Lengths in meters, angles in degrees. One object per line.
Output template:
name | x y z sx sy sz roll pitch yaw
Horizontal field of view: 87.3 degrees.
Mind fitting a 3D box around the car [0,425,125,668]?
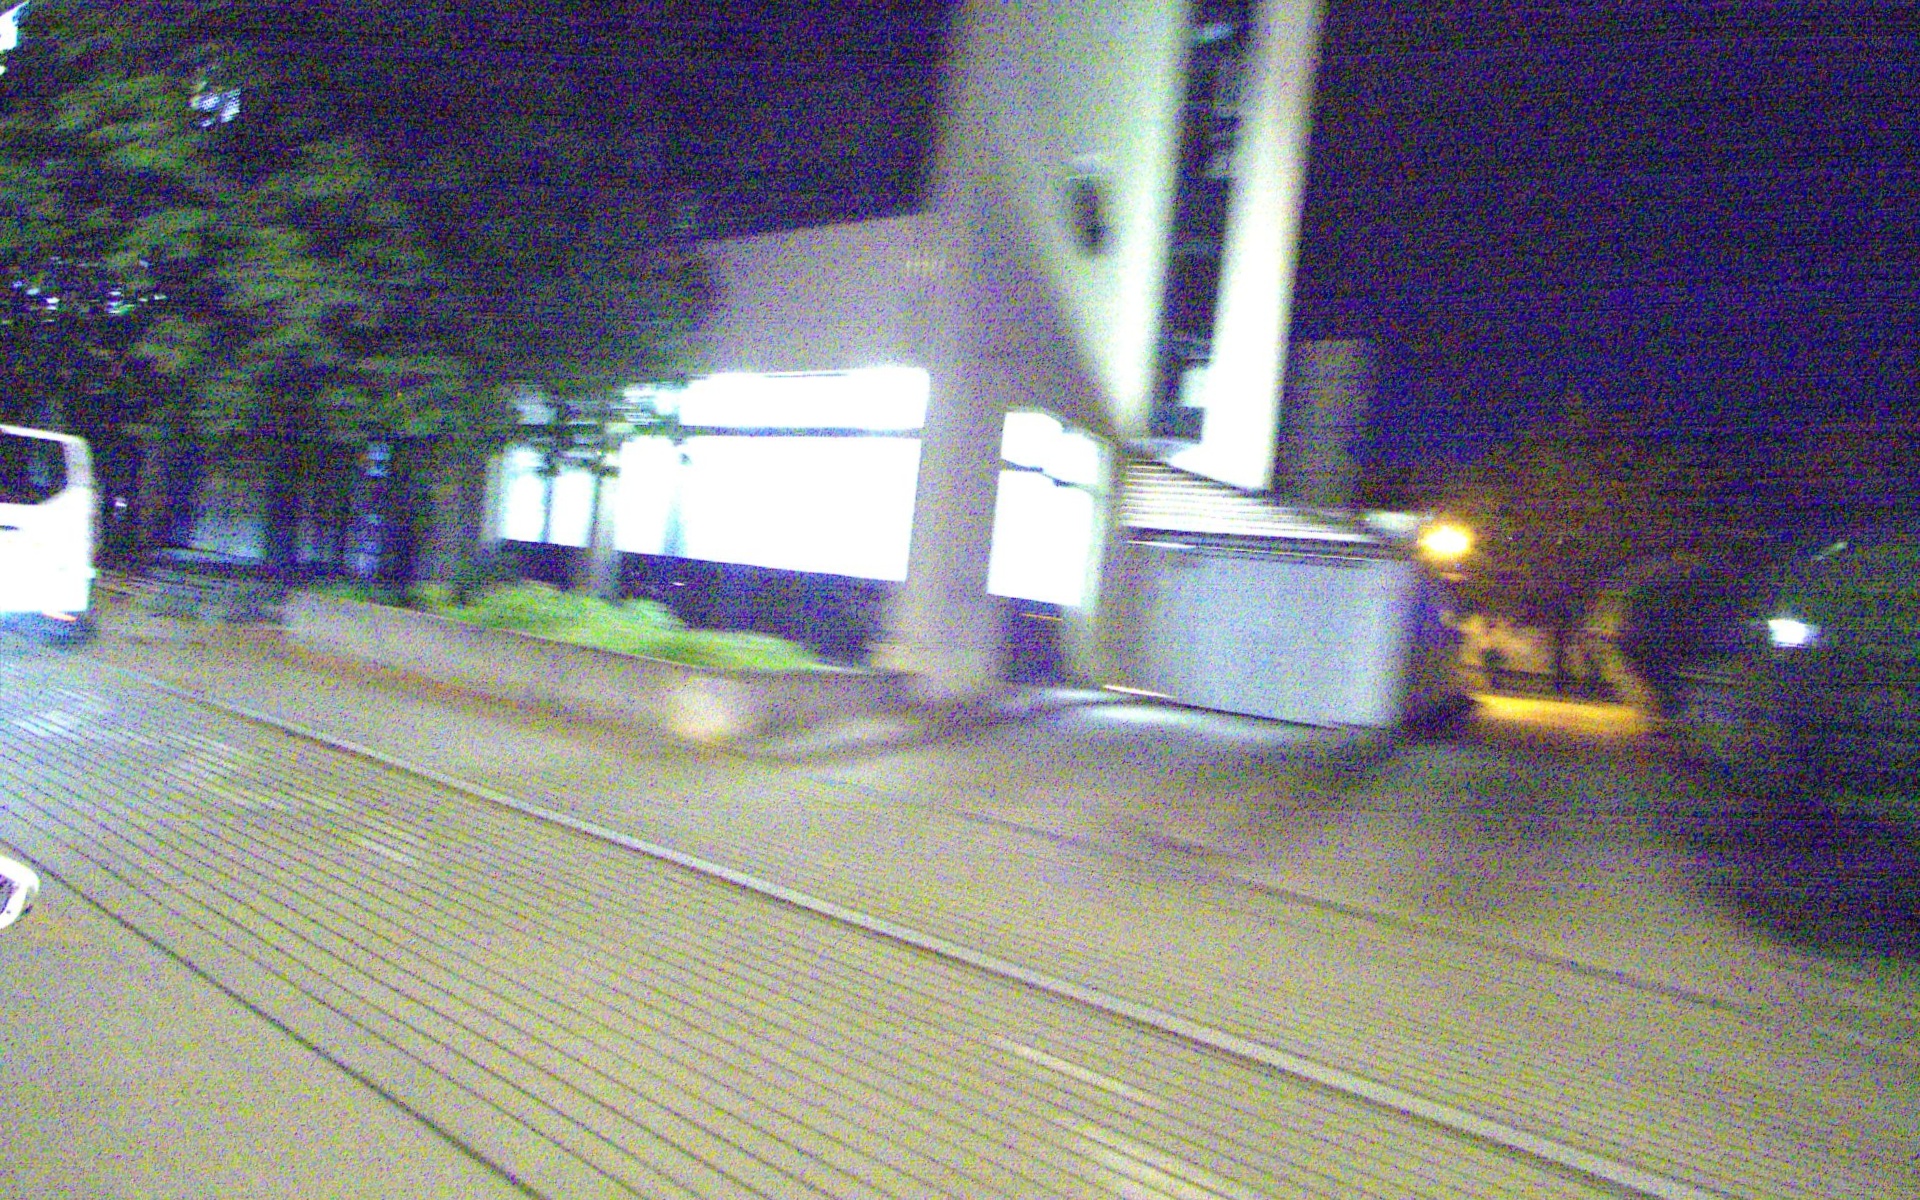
car | -9.892 -0.670 9.220 4.525 1.990 1.952 7 2 30
